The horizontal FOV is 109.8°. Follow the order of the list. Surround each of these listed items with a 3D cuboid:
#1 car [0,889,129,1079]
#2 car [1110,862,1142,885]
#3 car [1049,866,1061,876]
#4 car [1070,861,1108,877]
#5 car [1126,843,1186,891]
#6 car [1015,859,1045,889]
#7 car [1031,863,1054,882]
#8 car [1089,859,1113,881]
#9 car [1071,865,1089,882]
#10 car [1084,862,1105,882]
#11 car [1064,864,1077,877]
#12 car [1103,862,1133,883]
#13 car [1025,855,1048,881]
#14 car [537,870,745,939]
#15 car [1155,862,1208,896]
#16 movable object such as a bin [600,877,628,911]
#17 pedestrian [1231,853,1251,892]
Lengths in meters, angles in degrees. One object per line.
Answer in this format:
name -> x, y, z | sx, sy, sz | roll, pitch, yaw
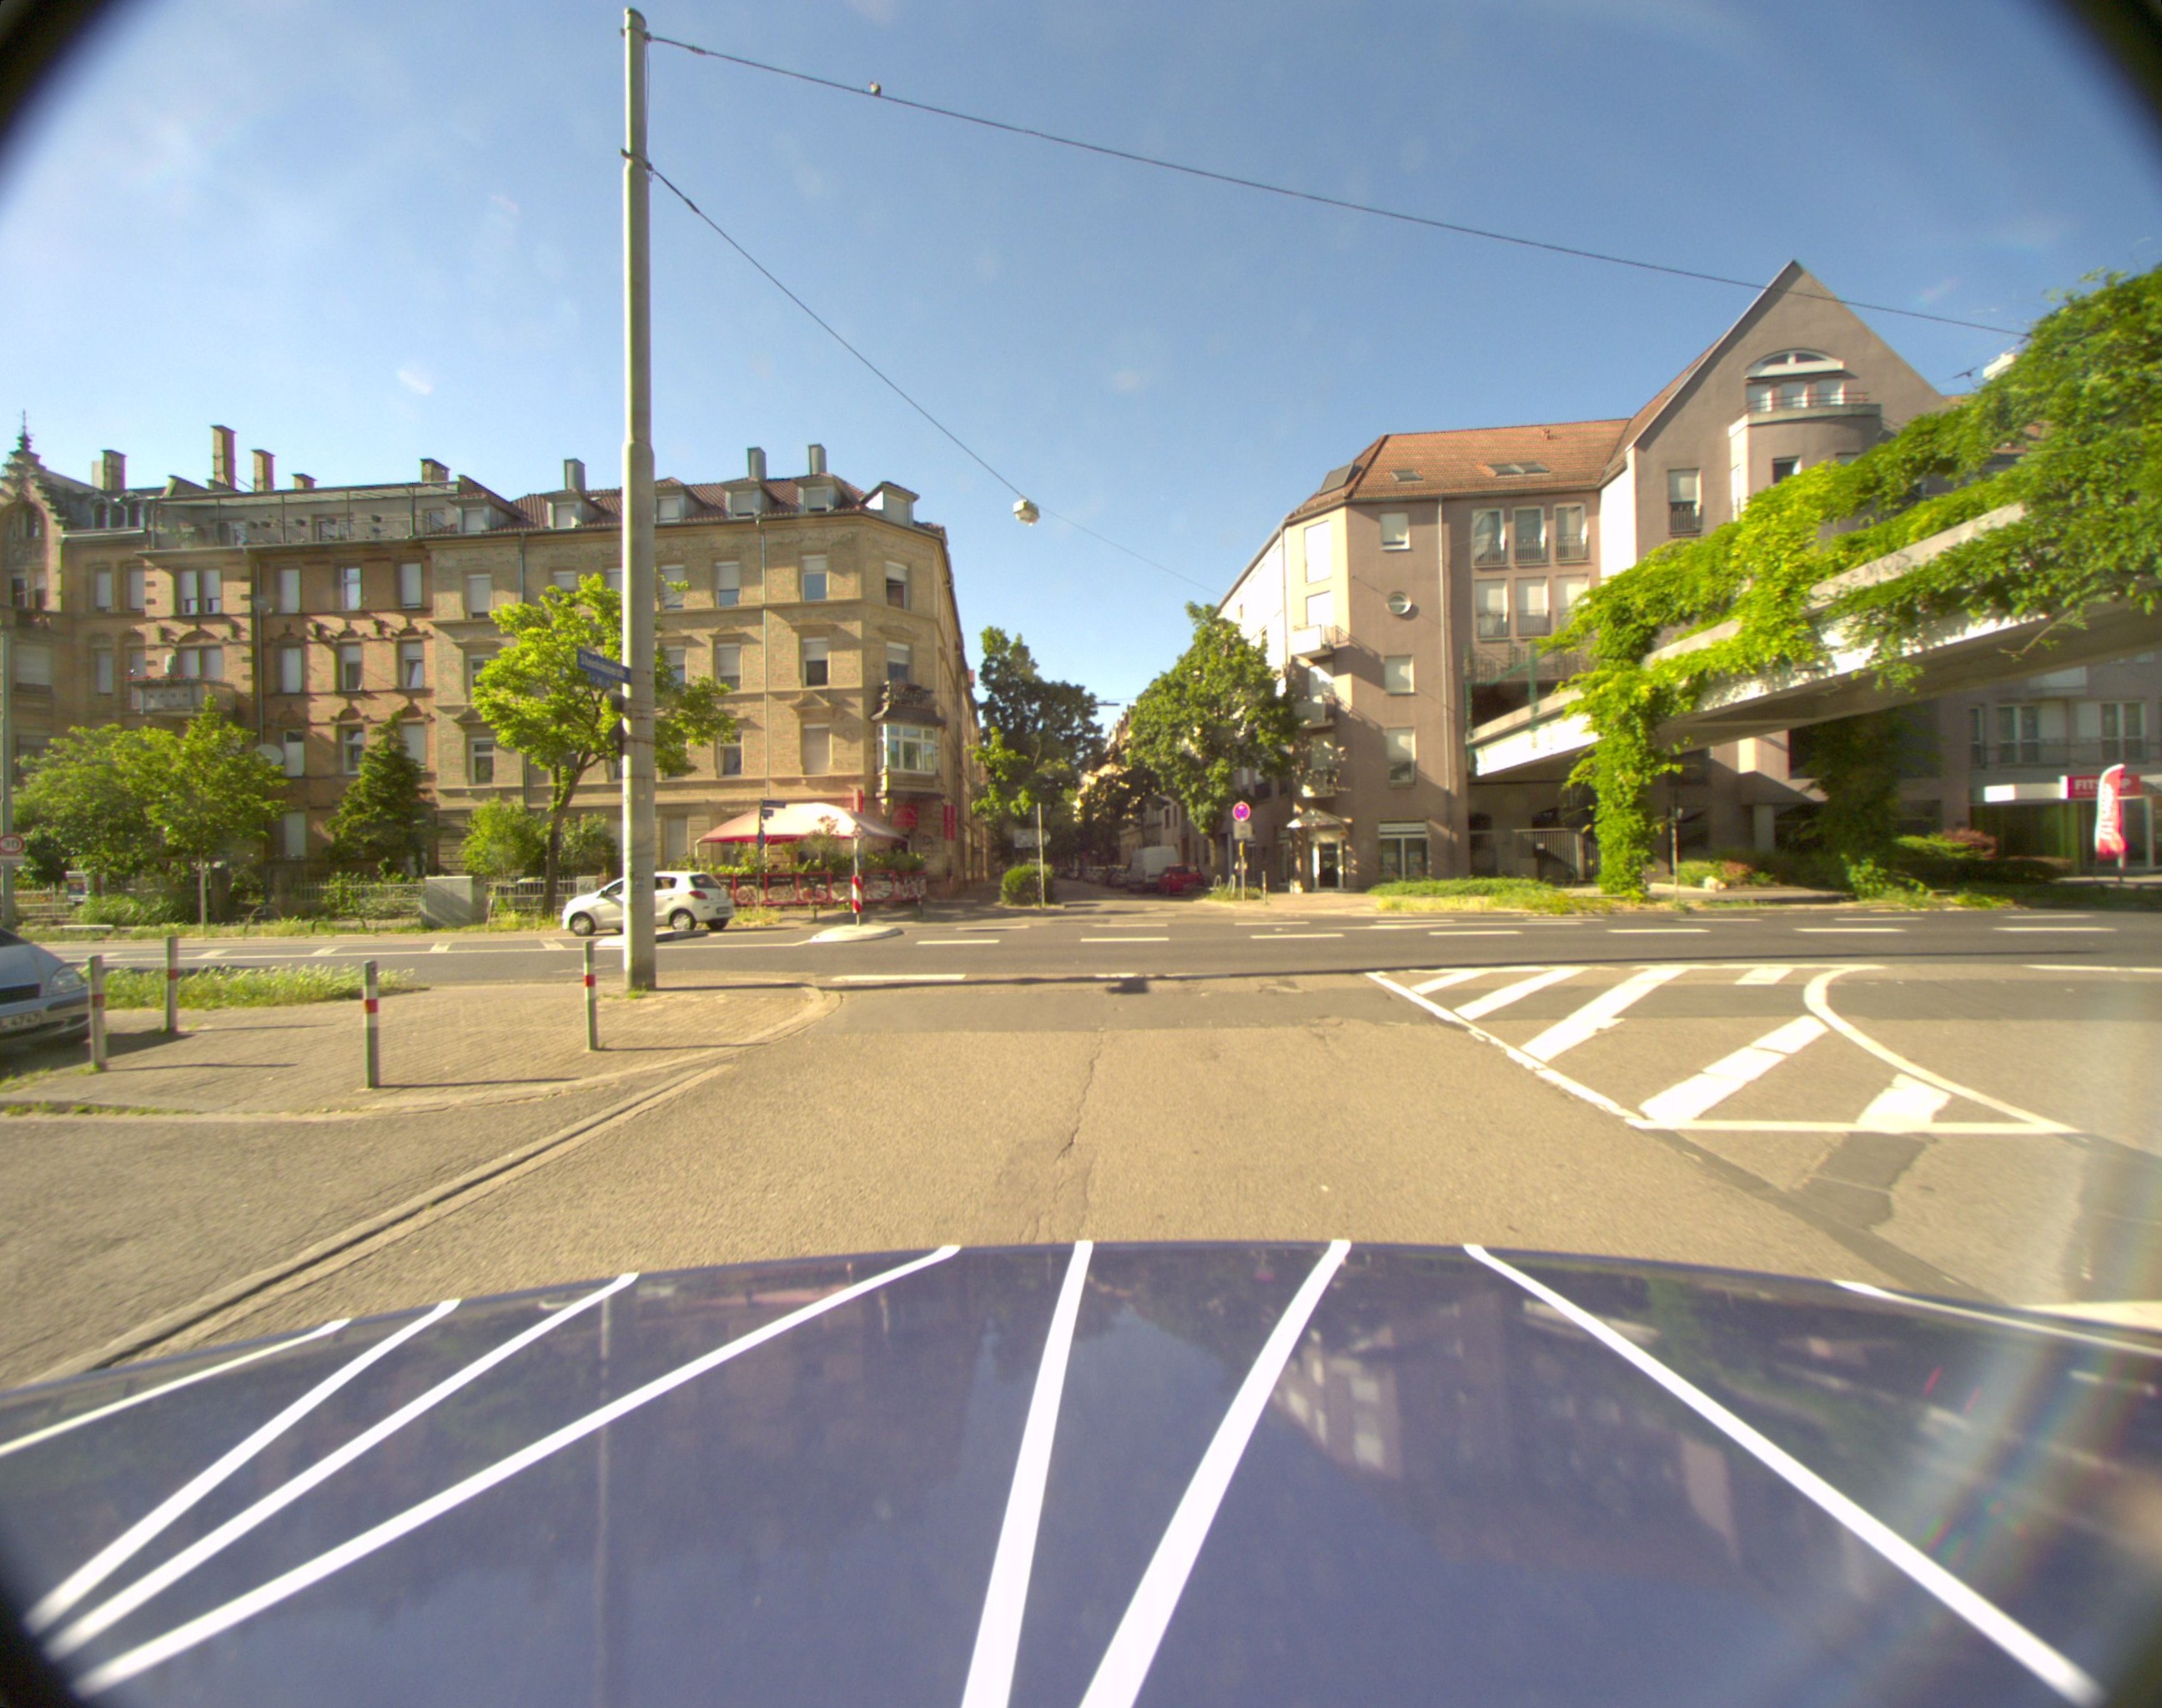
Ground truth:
car -> -10.632, 1.131, 6.216 | 3.528, 1.510, 1.725 | -1, 1, 2
car -> 3.163, 1.361, 53.819 | 1.695, 1.547, 3.820 | -1, 0, -4
car -> -4.678, 3.040, 137.757 | 1.868, 1.759, 3.998 | -1, 0, -6
car -> 0.882, 1.650, 83.990 | 3.999, 1.576, 1.818 | -1, -3, -5
car -> 4.047, 0.705, 42.080 | 2.220, 2.437, 5.092 | -1, 0, -6
car -> -3.602, 1.404, 53.394 | 1.996, 2.016, 4.303 | -1, -2, -4
car -> -3.290, 1.561, 63.866 | 1.694, 1.464, 3.999 | -1, -2, -6
car -> 1.816, 1.437, 68.606 | 1.776, 1.870, 3.999 | -1, -1, -3
car -> -0.105, 2.226, 88.436 | 1.776, 1.870, 3.999 | -1, 0, -3
car -> 1.341, 1.808, 75.549 | 1.776, 1.870, 3.999 | -1, 0, -3
car -> -1.632, 2.452, 113.720 | 1.776, 1.870, 3.999 | -1, 0, -3
car -> 2.835, 1.424, 58.699 | 1.785, 1.547, 3.820 | -1, 0, -4
car -> -4.778, 1.509, 81.301 | 2.275, 2.645, 4.322 | -1, -2, -6
car -> -10.560, 1.192, 18.402 | 4.095, 1.521, 1.666 | -1, 0, 4
car -> 4.693, 1.150, 36.069 | 1.692, 1.454, 3.999 | -1, 0, -4
movable object such as a bin -> -16.069, 1.379, 26.163 | 0.551, 1.126, 0.570 | -1, 0, 5
pedestrian -> 6.485, 0.737, 30.727 | 0.632, 1.567, 0.532 | -1, 0, 29
